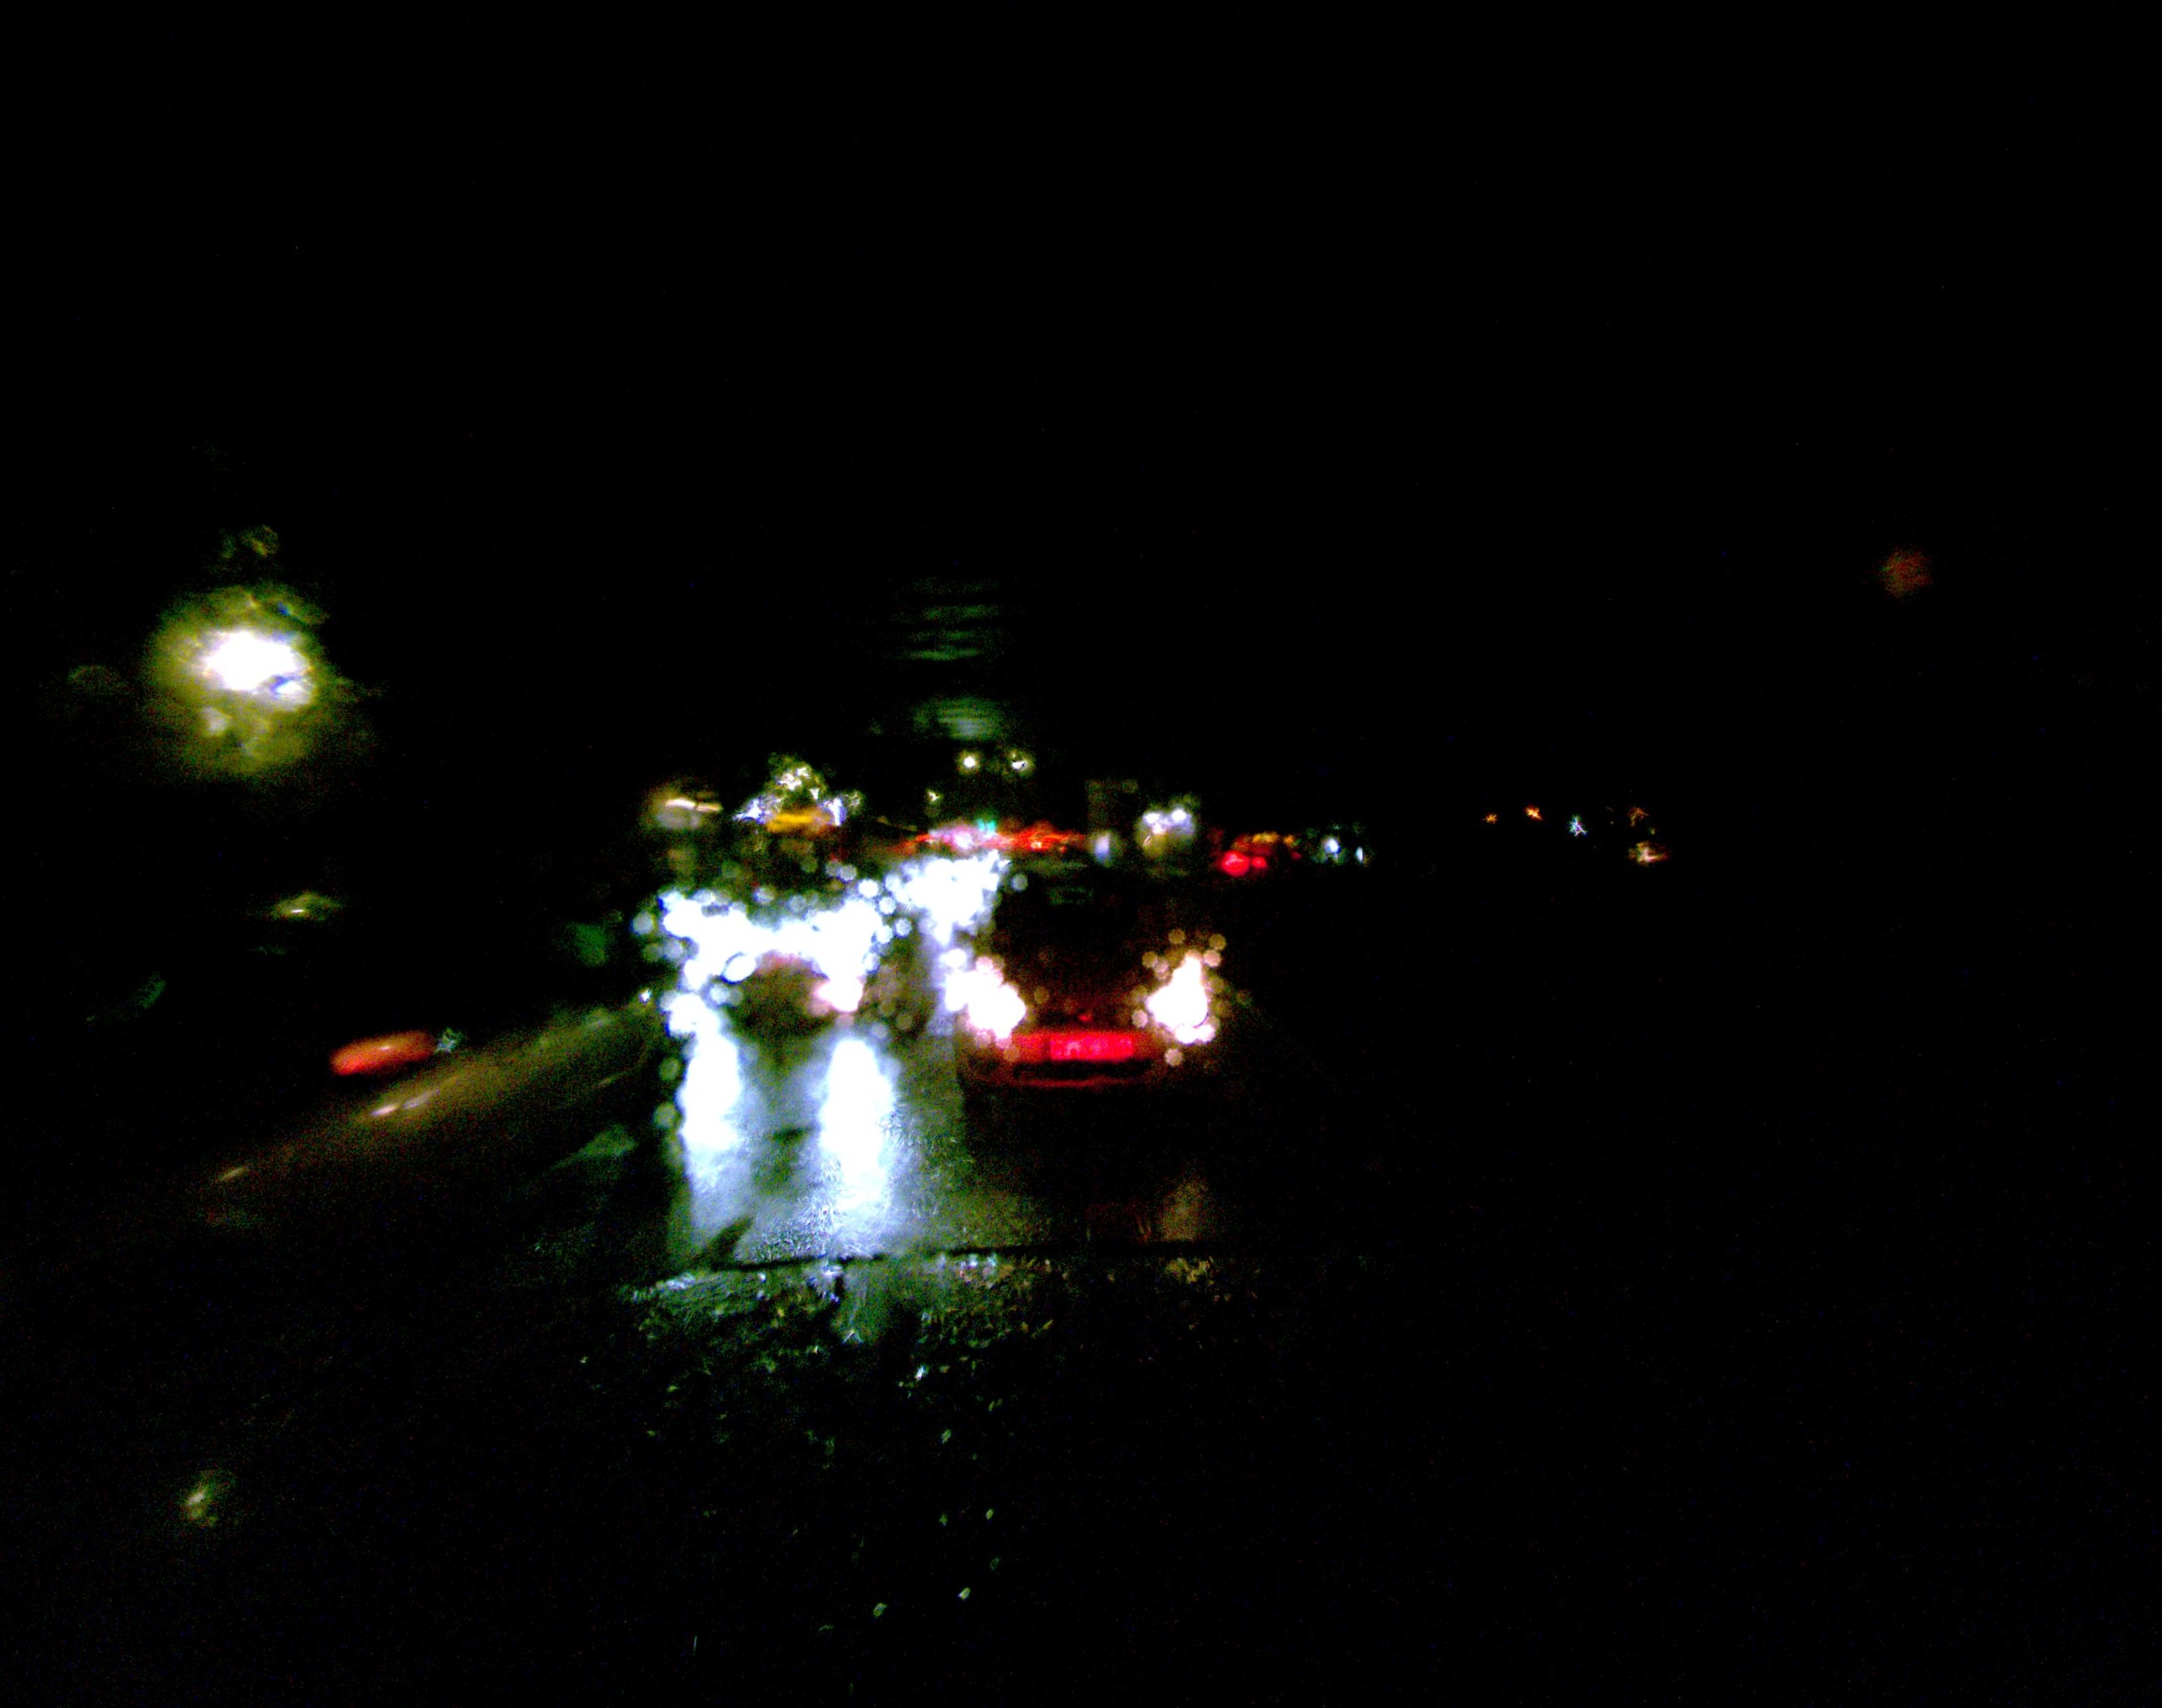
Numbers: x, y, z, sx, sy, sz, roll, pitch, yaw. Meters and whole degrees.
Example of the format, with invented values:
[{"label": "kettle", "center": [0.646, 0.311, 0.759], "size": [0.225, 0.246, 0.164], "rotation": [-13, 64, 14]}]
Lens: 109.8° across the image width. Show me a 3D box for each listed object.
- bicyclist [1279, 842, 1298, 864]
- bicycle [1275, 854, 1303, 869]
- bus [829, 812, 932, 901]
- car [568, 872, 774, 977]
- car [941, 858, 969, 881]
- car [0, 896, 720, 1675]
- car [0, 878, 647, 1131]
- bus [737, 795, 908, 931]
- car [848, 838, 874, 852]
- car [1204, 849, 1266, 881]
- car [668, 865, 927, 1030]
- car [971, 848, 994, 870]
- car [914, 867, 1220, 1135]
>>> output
[{"label": "bicyclist", "center": [13.214, -0.064, 48.306], "size": [0.630, 1.427, 1.186], "rotation": [-1, 1, -17]}, {"label": "bicycle", "center": [13.227, 0.449, 48.286], "size": [0.629, 0.899, 2.210], "rotation": [-1, 1, -17]}, {"label": "bus", "center": [-8.393, 0.025, 33.108], "size": [2.742, 3.219, 9.693], "rotation": [-2, 1, -6]}, {"label": "car", "center": [-7.162, 1.134, 13.808], "size": [1.725, 1.478, 4.160], "rotation": [0, 1, -4]}, {"label": "car", "center": [-8.442, 1.012, 51.275], "size": [1.699, 1.455, 3.970], "rotation": [0, 1, -7]}, {"label": "car", "center": [-3.181, 1.030, 2.782], "size": [1.724, 1.438, 4.161], "rotation": [-1, 1, 0]}, {"label": "car", "center": [-6.521, 1.090, 7.496], "size": [1.724, 1.478, 4.786], "rotation": [-1, 1, 0]}, {"label": "bus", "center": [-7.430, 0.144, 23.476], "size": [2.742, 3.258, 9.693], "rotation": [-2, 1, -6]}, {"label": "car", "center": [-23.771, -0.956, 81.975], "size": [1.712, 1.382, 3.990], "rotation": [-2, 1, -32]}, {"label": "car", "center": [7.706, 0.503, 38.441], "size": [1.830, 1.455, 4.422], "rotation": [-2, 1, -6]}, {"label": "car", "center": [-3.344, 0.996, 9.922], "size": [1.724, 1.478, 4.161], "rotation": [-4, 1, 0]}, {"label": "car", "center": [-7.697, 0.350, 59.235], "size": [1.725, 1.695, 3.970], "rotation": [0, 1, -9]}, {"label": "car", "center": [-0.096, 0.886, 6.371], "size": [1.755, 1.438, 3.973], "rotation": [0, 1, 0]}]
